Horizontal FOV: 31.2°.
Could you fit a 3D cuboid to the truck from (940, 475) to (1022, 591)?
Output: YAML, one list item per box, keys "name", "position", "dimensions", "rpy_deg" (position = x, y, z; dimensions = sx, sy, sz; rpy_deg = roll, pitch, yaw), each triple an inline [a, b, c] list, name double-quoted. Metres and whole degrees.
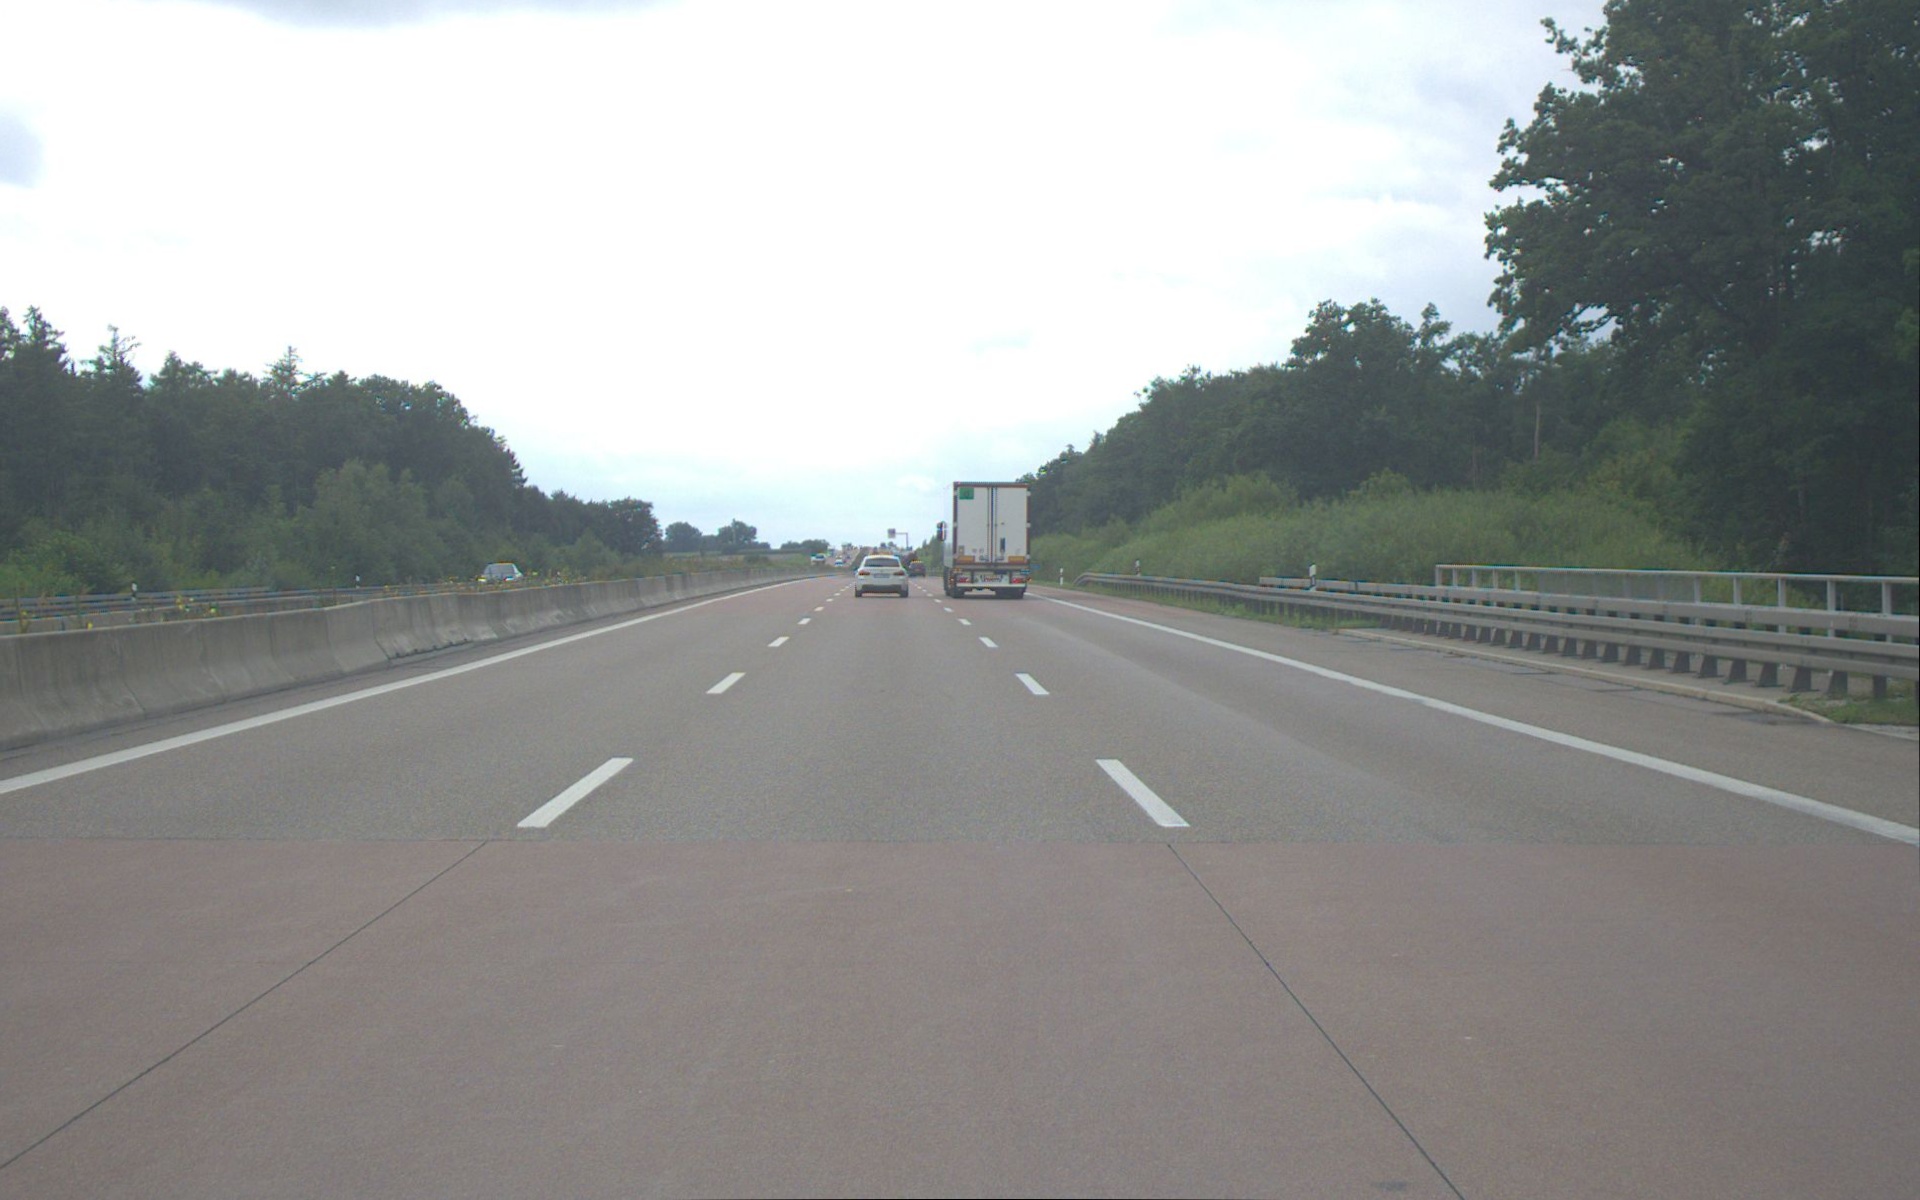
- name: "truck"
  position: [0.746, -2.484, 128.915]
  dimensions: [2.921, 4.279, 5.335]
  rpy_deg: [0, 0, -1]

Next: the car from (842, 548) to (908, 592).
- name: "car"
  position: [-2.983, -1.079, 121.109]
  dimensions: [2.163, 1.446, 4.719]
  rpy_deg: [1, 1, 0]

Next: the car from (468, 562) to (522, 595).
- name: "car"
  position: [-23.298, -1.106, 172.259]
  dimensions: [2.124, 1.585, 5.198]
  rpy_deg: [-1, 1, -2]

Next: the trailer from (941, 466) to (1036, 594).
- name: "trailer"
  position: [0.926, -2.390, 121.446]
  dimensions: [2.921, 4.279, 13.614]
  rpy_deg: [0, 0, -1]
